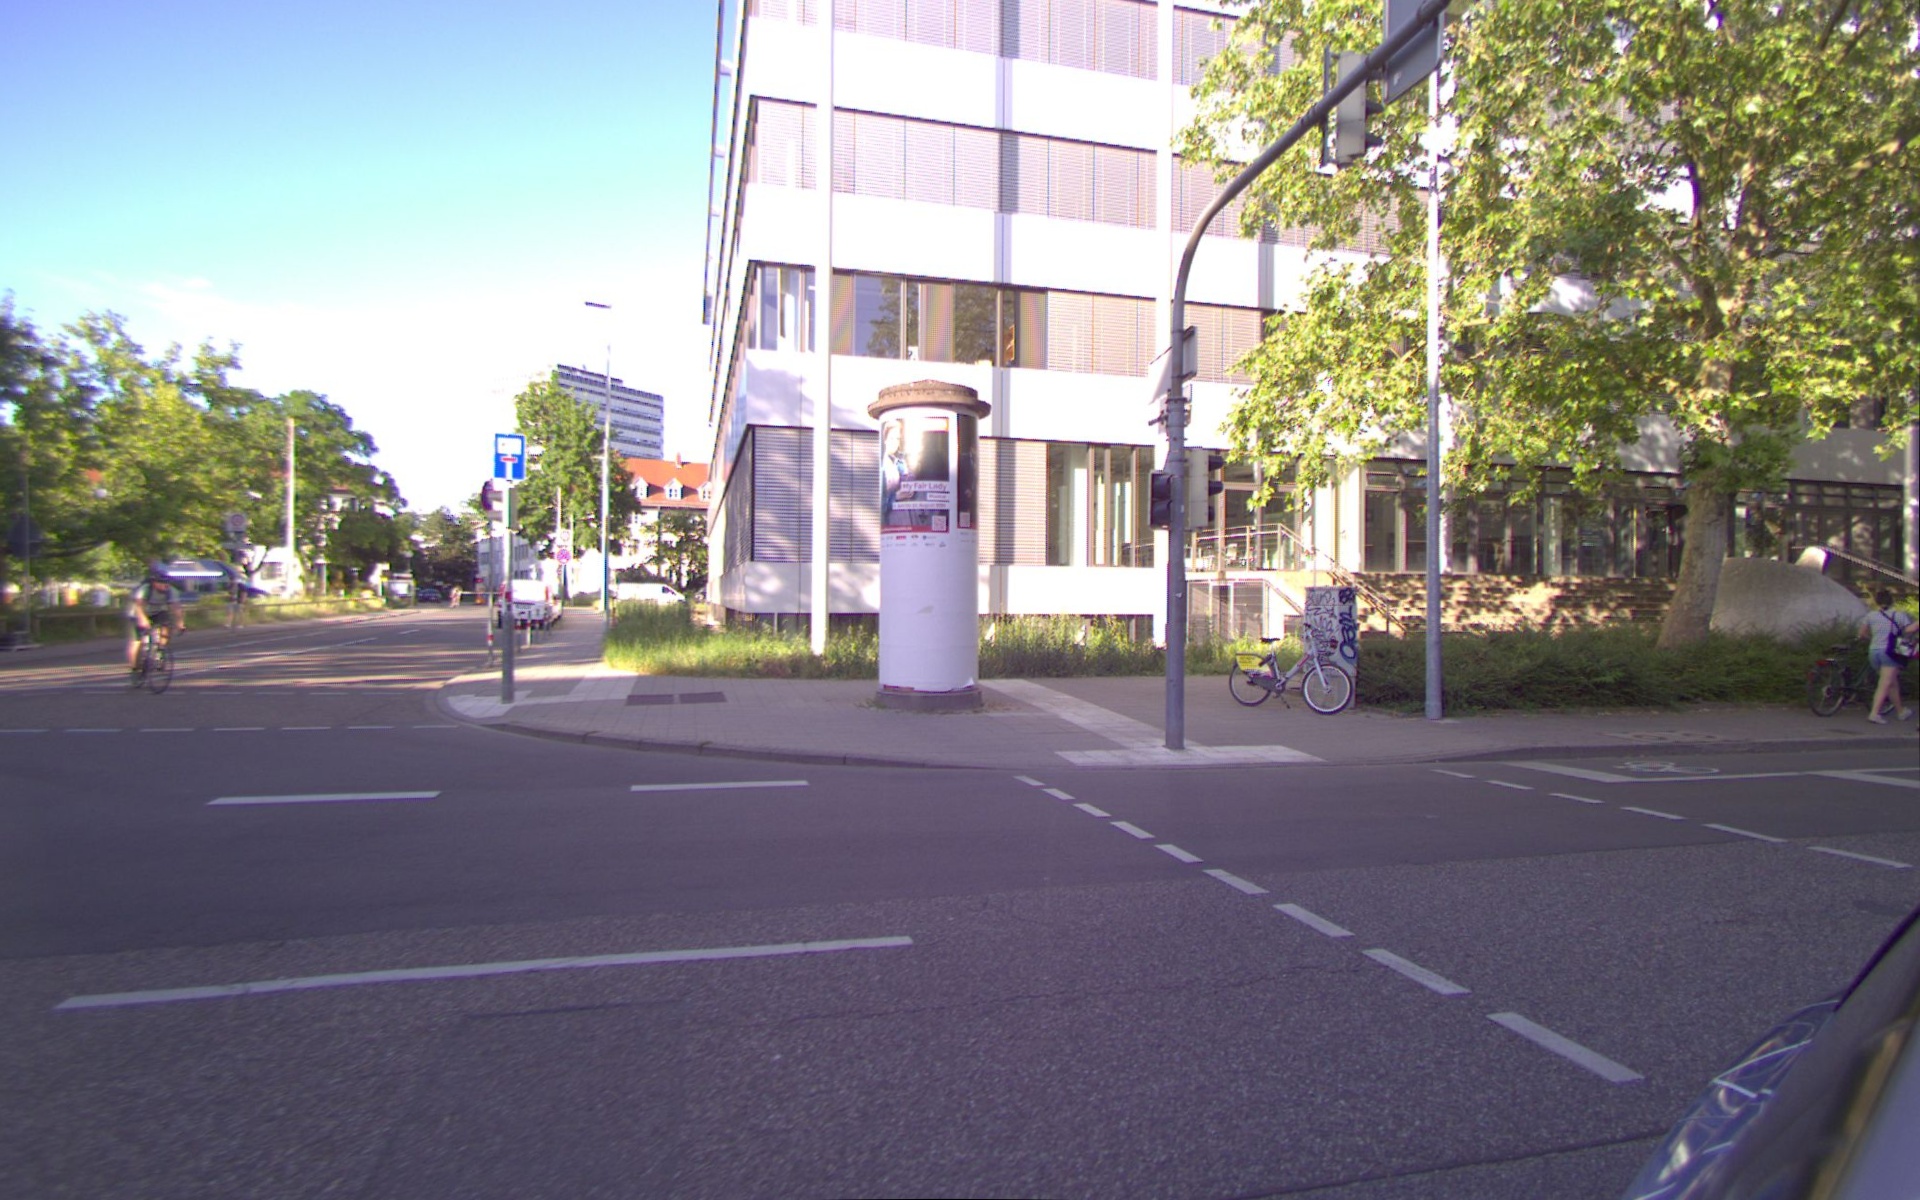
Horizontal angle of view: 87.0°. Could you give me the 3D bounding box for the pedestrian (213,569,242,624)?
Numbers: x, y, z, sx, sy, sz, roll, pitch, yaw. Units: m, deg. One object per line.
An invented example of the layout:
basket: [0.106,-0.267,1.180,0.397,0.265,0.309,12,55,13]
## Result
pedestrian: [-25.183,-0.130,34.790,0.654,1.878,1.027,0,0,-27]

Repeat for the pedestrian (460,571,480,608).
pedestrian: [-44.812,-0.954,92.511,1.432,3.350,1.406,0,0,-35]

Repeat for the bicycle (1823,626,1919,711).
bicycle: [12.330,0.890,13.445,1.612,1.048,0.524,0,0,-17]

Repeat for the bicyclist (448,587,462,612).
bicyclist: [-34.094,-0.040,68.291,0.746,1.613,0.903,0,0,-21]

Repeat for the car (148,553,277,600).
car: [-34.779,-1.069,47.208,4.471,2.140,2.004,0,0,-22]

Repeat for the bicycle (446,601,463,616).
bicycle: [-34.110,0.578,68.294,0.746,0.961,3.064,0,0,-21]

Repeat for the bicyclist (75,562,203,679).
bicyclist: [-11.766,0.270,14.527,1.110,1.565,0.948,2,1,16]

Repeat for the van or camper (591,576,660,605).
van or camper: [-25.146,-0.682,76.117,4.636,2.113,2.003,0,0,-28]

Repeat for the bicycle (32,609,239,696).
bicycle: [-11.837,0.716,14.543,2.623,1.065,0.977,2,1,16]

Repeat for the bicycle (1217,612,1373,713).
bicycle: [4.403,0.788,13.427,0.463,1.197,1.988,-1,1,-45]

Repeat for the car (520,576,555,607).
car: [-28.710,-0.563,68.853,1.958,2.039,4.007,0,-1,-19]

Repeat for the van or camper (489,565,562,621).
van or camper: [-16.942,-0.291,39.684,2.117,2.039,4.987,0,1,-18]

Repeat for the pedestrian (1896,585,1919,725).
pedestrian: [12.335,0.686,12.588,0.677,1.740,0.778,-2,1,-16]

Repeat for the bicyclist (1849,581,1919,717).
bicyclist: [12.296,0.620,13.336,0.641,1.735,0.636,-1,1,-17]

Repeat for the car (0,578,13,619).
car: [-44.666,-0.060,44.514,3.916,1.802,2.004,0,0,-16]
